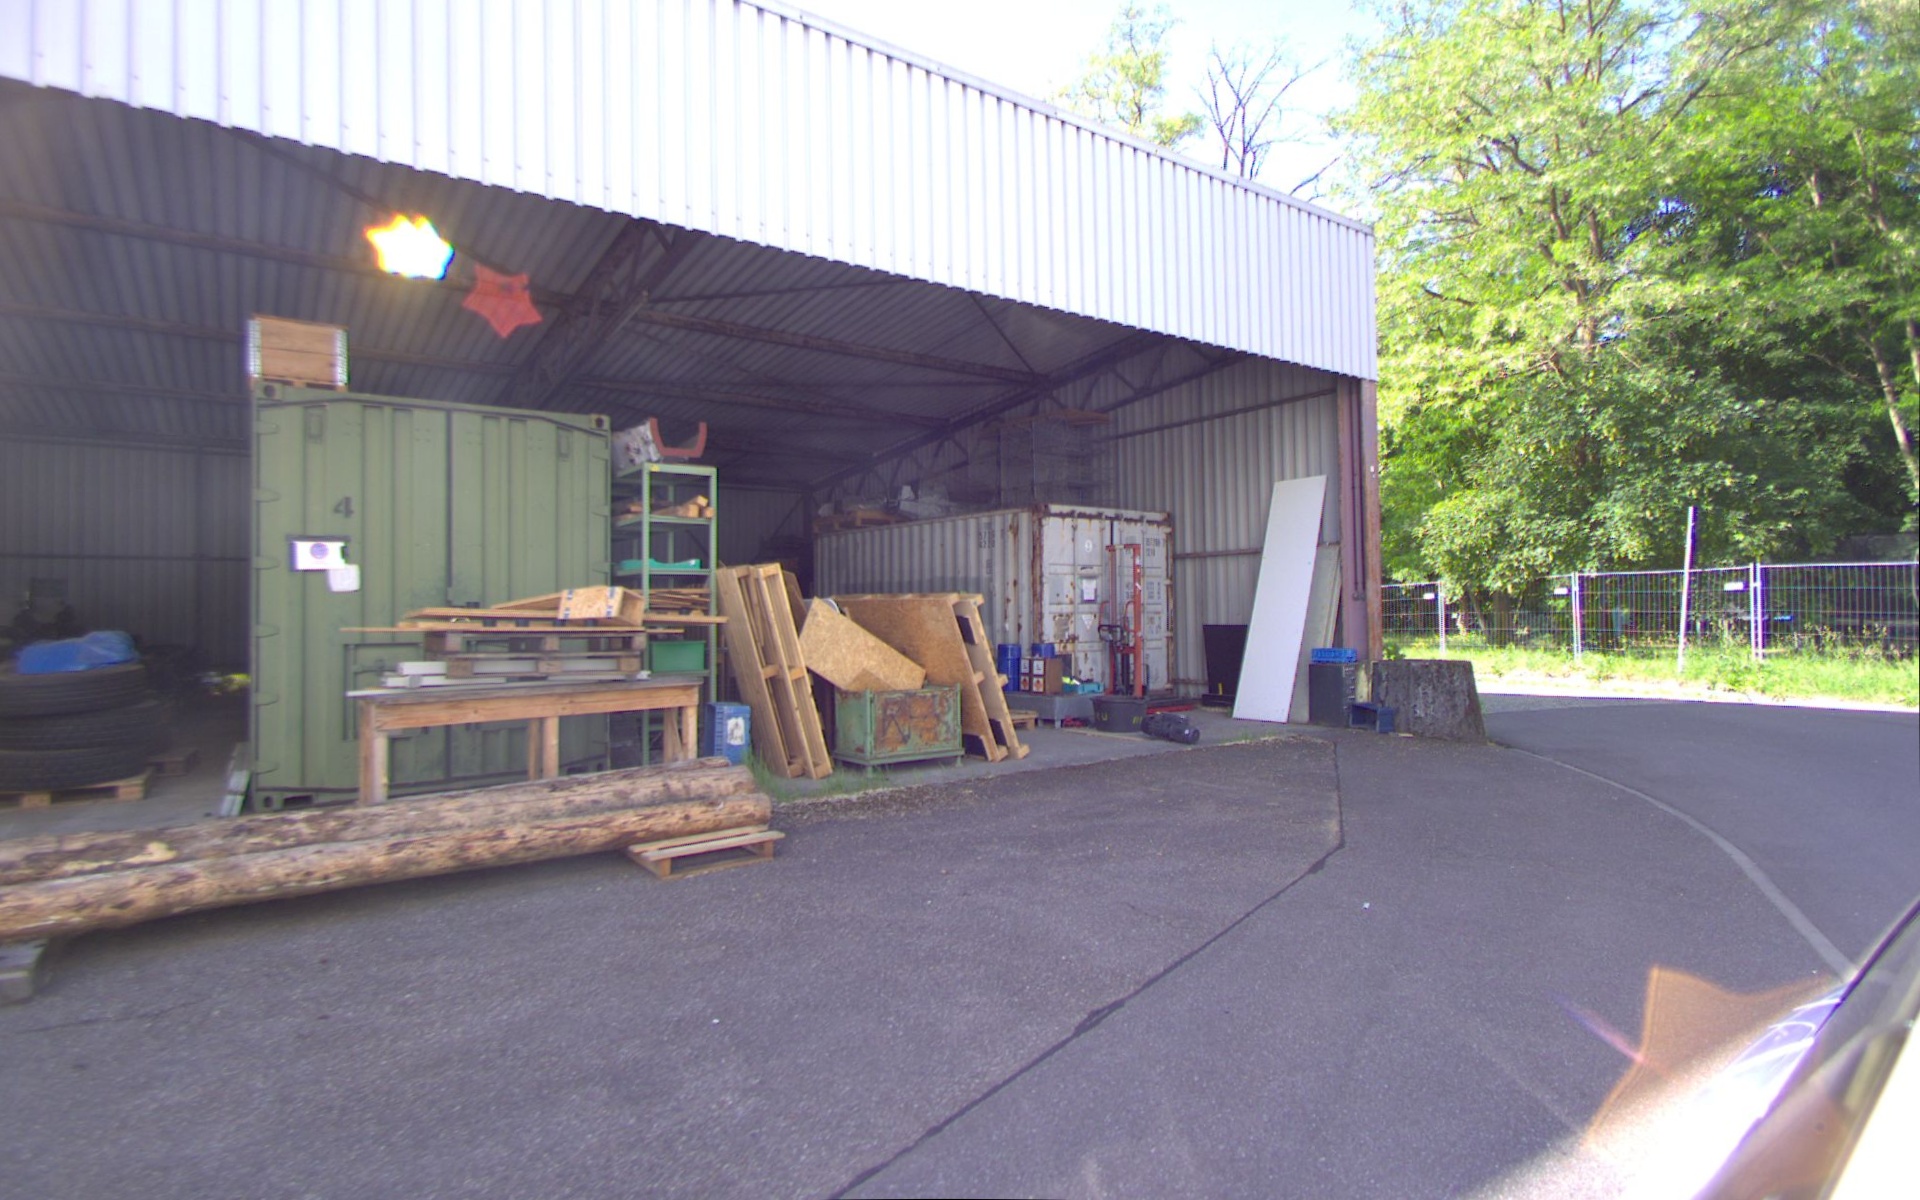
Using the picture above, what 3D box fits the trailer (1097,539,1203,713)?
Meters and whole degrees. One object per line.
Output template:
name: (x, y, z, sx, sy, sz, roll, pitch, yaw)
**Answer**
trailer: (2.406, 0.333, 12.798, 1.260, 2.095, 0.580, 2, -5, -39)
